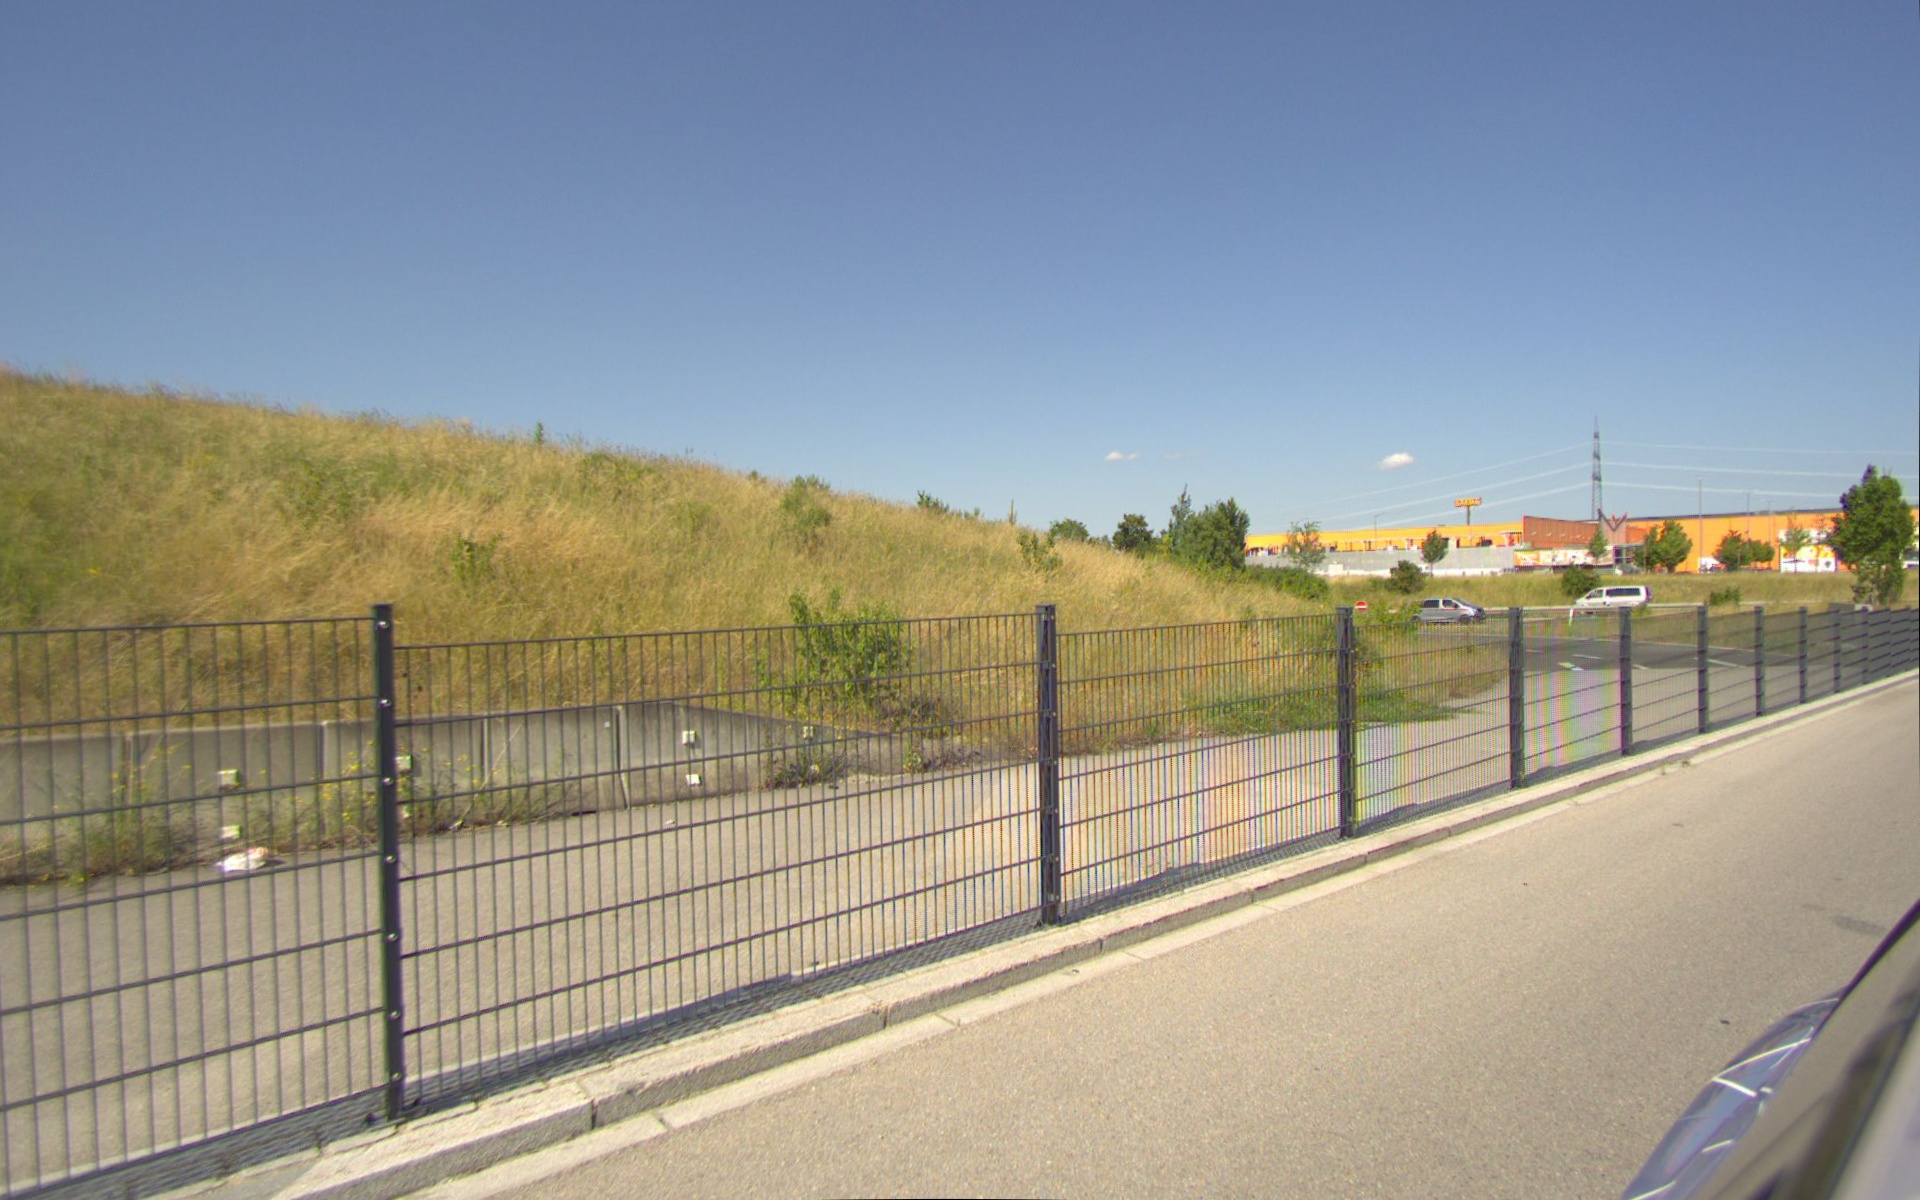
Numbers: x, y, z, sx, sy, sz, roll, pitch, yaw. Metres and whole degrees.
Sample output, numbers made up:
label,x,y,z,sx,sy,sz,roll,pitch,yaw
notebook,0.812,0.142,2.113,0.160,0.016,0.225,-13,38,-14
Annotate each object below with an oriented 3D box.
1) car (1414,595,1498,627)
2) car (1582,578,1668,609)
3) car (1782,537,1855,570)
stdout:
label,x,y,z,sx,sy,sz,roll,pitch,yaw
car,33.361,0.740,68.119,4.742,2.039,1.969,-1,0,44
car,45.700,-0.420,69.568,1.967,2.039,4.623,-1,0,-44
car,73.559,-3.973,86.762,1.968,2.581,4.622,-1,0,-45
